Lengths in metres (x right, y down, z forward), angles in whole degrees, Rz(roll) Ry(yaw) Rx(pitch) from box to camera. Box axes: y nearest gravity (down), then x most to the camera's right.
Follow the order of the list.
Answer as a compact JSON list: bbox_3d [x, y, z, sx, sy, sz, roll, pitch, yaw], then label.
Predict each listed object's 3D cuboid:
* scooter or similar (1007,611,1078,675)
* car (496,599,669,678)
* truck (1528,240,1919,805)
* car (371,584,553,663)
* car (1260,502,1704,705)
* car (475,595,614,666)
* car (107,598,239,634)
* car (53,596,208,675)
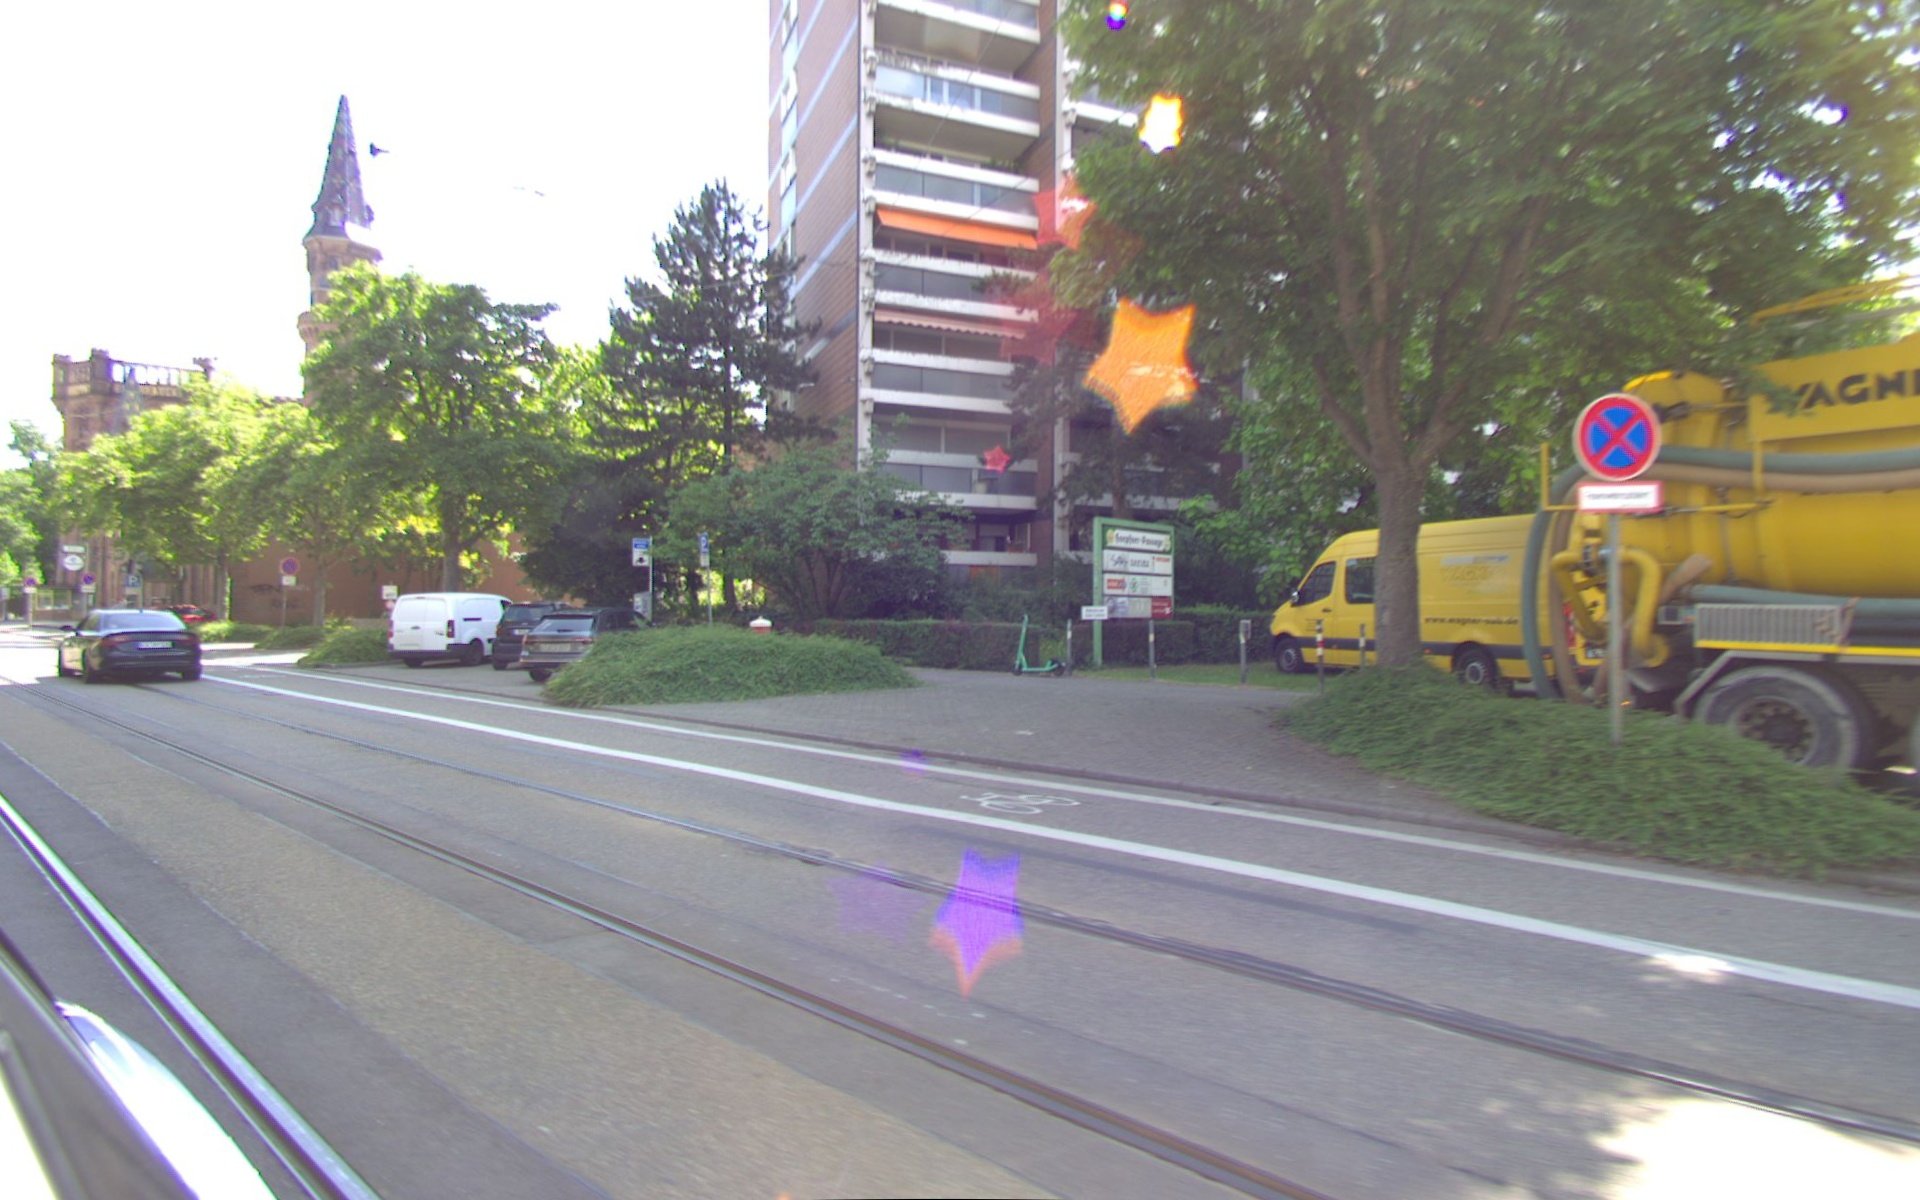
[{"bbox_3d":[1.505,0.765,18.544,0.379,1.132,1.370,-1,0,-44],"label":"scooter or similar"},{"bbox_3d":[-7.567,0.703,20.800,1.749,1.405,4.444,-1,0,2],"label":"car"},{"bbox_3d":[9.327,-0.533,5.324,2.679,3.870,10.992,-1,1,-35],"label":"truck"},{"bbox_3d":[-12.415,0.534,25.601,1.879,1.804,4.537,-1,0,8],"label":"car"},{"bbox_3d":[7.850,-0.003,16.429,2.147,2.585,6.746,0,1,-19],"label":"car"},{"bbox_3d":[-9.843,0.673,24.307,1.747,1.544,3.951,-1,0,-1],"label":"car"},{"bbox_3d":[-36.749,0.718,47.454,1.981,1.578,4.761,0,0,12],"label":"car"},{"bbox_3d":[-16.635,0.670,20.227,4.286,1.408,1.755,-1,-1,42],"label":"car"}]
